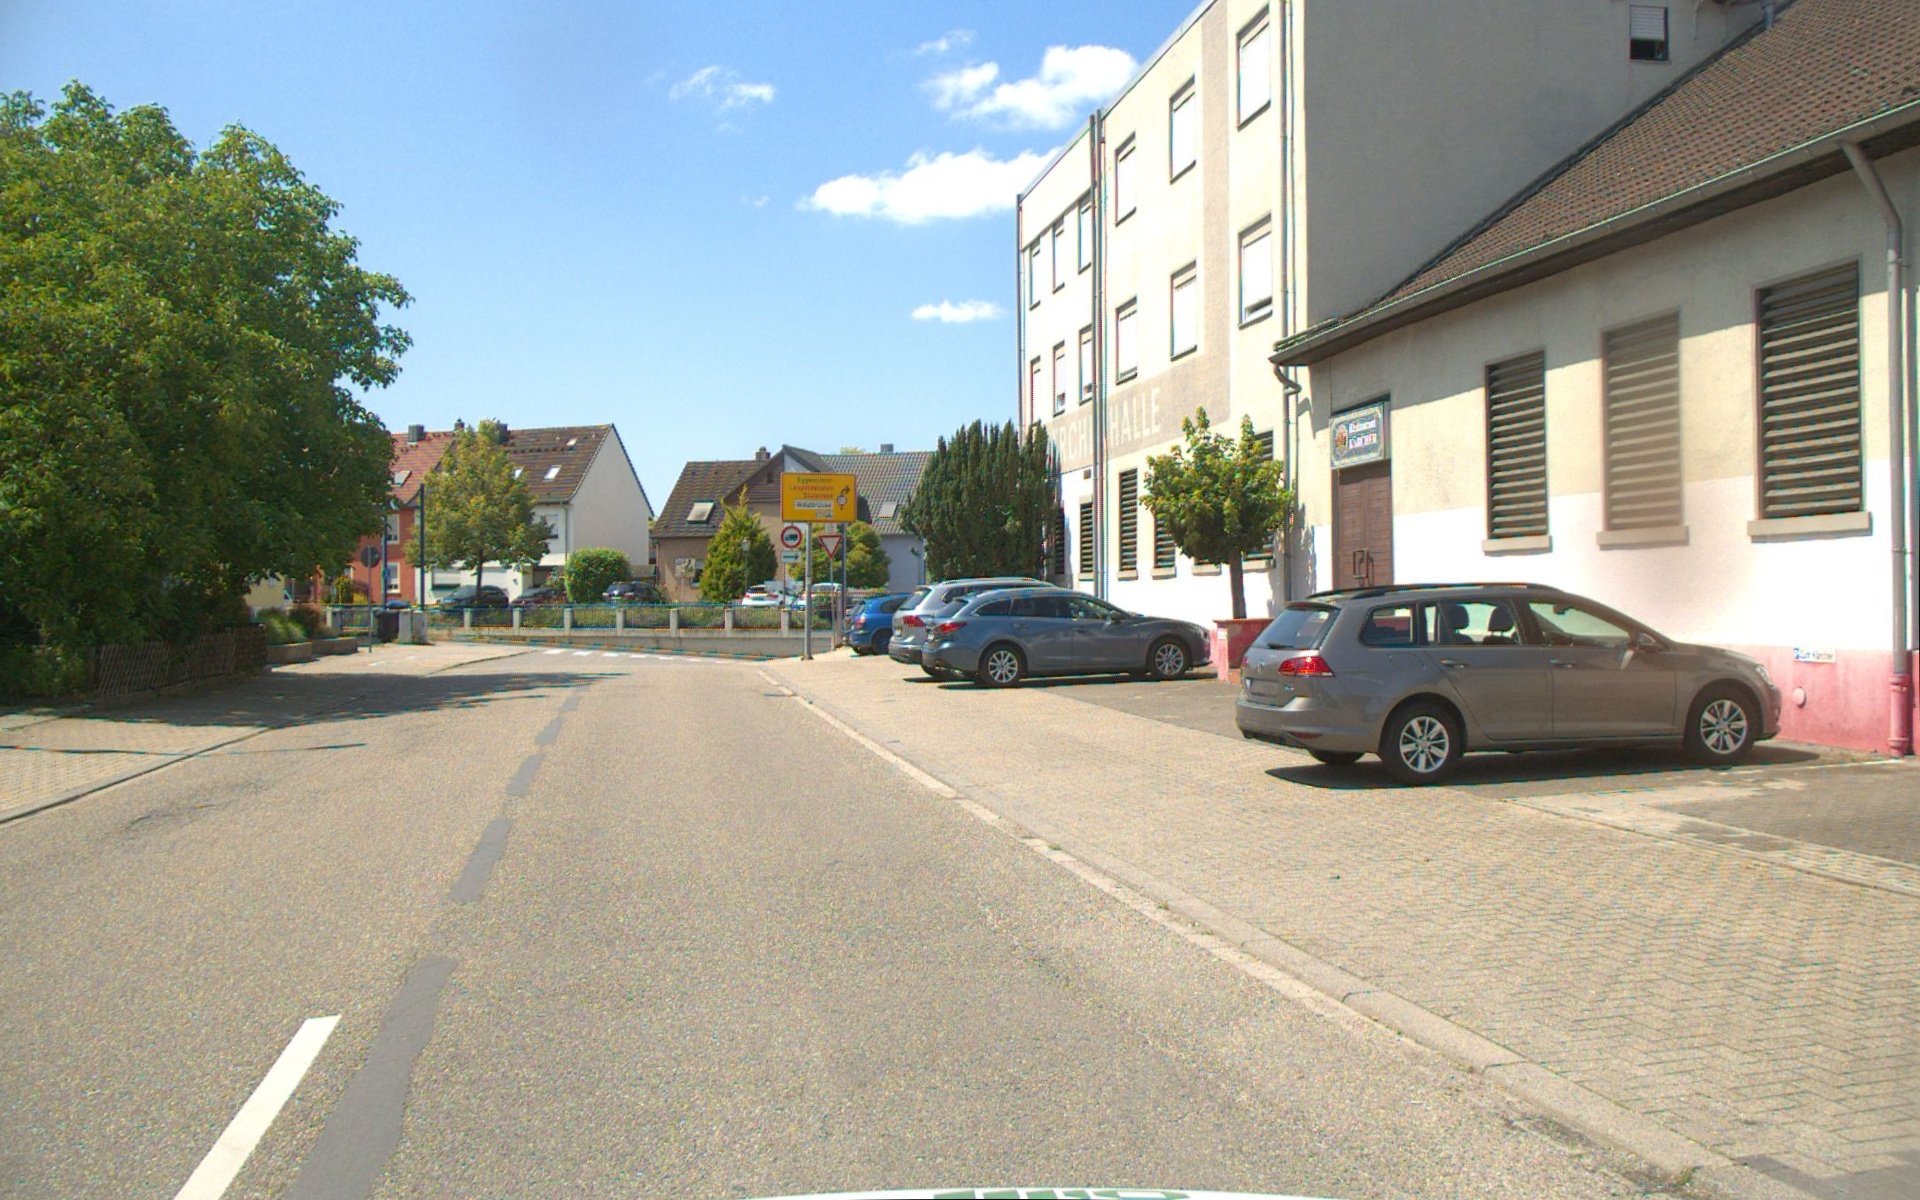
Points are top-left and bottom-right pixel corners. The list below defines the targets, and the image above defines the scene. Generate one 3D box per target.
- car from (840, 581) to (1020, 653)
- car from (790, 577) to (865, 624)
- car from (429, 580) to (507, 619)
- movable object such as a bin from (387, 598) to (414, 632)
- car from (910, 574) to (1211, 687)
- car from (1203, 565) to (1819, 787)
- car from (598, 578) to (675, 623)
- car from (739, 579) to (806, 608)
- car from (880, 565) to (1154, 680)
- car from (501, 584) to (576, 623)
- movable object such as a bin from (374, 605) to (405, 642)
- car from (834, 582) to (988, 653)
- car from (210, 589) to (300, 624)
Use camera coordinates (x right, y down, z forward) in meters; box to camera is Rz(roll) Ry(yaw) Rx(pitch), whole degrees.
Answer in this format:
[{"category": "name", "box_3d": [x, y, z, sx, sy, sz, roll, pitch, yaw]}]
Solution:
[{"category": "car", "box_3d": [-0.793, 0.443, 41.995, 4.248, 1.464, 1.774, -4, -2, -13]}, {"category": "car", "box_3d": [-5.871, 0.050, 73.812, 1.952, 1.828, 4.199, 4, -1, 15]}, {"category": "car", "box_3d": [-23.372, -0.003, 78.717, 1.828, 1.614, 3.612, 4, -1, 15]}, {"category": "movable object such as a bin", "box_3d": [-20.509, 0.557, 60.647, 0.828, 1.235, 1.267, 1, -1, -24]}, {"category": "car", "box_3d": [1.567, 0.454, 26.521, 4.422, 1.546, 1.994, -2, 1, -13]}, {"category": "car", "box_3d": [4.453, 0.551, 13.641, 4.446, 1.479, 1.913, -2, 1, -12]}, {"category": "car", "box_3d": [-14.987, 0.040, 76.723, 1.828, 1.828, 4.002, 3, -1, 15]}, {"category": "car", "box_3d": [-8.395, -0.278, 74.370, 1.786, 1.037, 3.461, 4, -1, 15]}, {"category": "car", "box_3d": [0.962, 0.356, 28.710, 4.377, 1.726, 1.916, -2, 1, -14]}, {"category": "car", "box_3d": [-19.781, 0.172, 77.753, 1.828, 1.614, 3.612, 4, -1, 15]}, {"category": "movable object such as a bin", "box_3d": [-19.775, 0.806, 57.369, 0.869, 1.247, 0.900, 1, -1, -9]}, {"category": "car", "box_3d": [-1.351, 0.480, 45.207, 3.830, 1.515, 1.803, -6, 0, -14]}, {"category": "car", "box_3d": [-36.413, 0.348, 85.556, 1.707, 1.514, 4.256, 3, -1, 21]}]
